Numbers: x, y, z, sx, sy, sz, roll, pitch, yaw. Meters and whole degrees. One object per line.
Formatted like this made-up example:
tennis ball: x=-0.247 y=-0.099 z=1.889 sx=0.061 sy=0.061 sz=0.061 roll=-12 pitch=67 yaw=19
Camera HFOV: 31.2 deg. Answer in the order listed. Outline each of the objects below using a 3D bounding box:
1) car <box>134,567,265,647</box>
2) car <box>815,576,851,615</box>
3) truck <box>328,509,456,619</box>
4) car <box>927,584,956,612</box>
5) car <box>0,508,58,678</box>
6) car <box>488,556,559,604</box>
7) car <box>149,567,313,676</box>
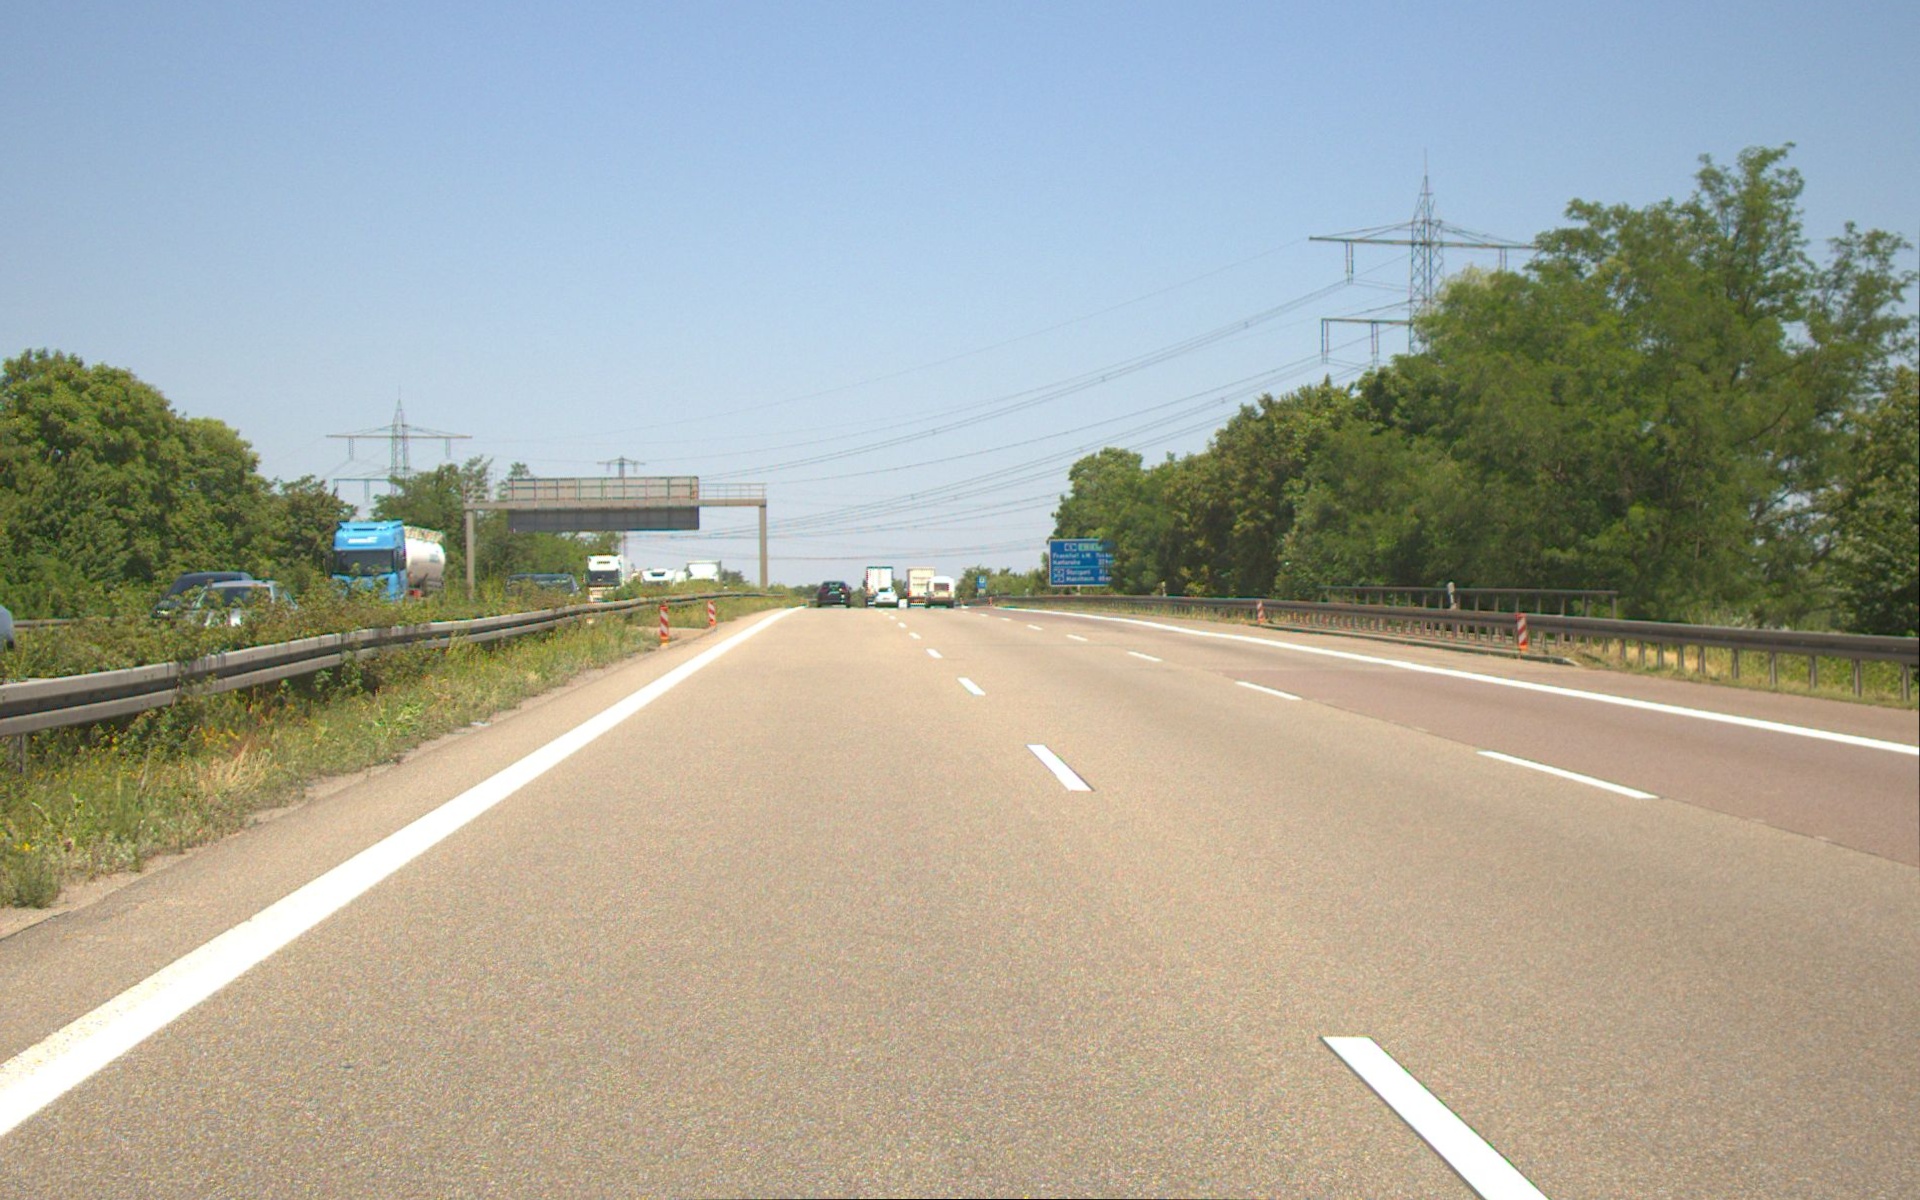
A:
car: x=-16.080 y=0.123 z=72.867 sx=1.993 sy=1.612 sz=4.000 roll=-1 pitch=1 yaw=-2
car: x=-6.747 y=-0.255 z=182.858 sx=1.791 sy=2.007 sz=3.888 roll=1 pitch=0 yaw=-1
truck: x=-22.006 y=-1.341 z=134.129 sx=2.728 sy=4.039 sz=15.937 roll=-1 pitch=0 yaw=-2
car: x=-1.337 y=-0.143 z=249.735 sx=1.993 sy=2.007 sz=4.000 roll=-1 pitch=0 yaw=-2
car: x=-10.697 y=-0.054 z=34.629 sx=1.993 sy=1.724 sz=5.108 roll=-1 pitch=1 yaw=-2
car: x=-18.462 y=-0.870 z=145.738 sx=2.413 sy=1.911 sz=5.783 roll=-1 pitch=1 yaw=-2
car: x=-12.288 y=0.334 z=58.185 sx=1.993 sy=1.724 sz=4.093 roll=-1 pitch=1 yaw=-2
